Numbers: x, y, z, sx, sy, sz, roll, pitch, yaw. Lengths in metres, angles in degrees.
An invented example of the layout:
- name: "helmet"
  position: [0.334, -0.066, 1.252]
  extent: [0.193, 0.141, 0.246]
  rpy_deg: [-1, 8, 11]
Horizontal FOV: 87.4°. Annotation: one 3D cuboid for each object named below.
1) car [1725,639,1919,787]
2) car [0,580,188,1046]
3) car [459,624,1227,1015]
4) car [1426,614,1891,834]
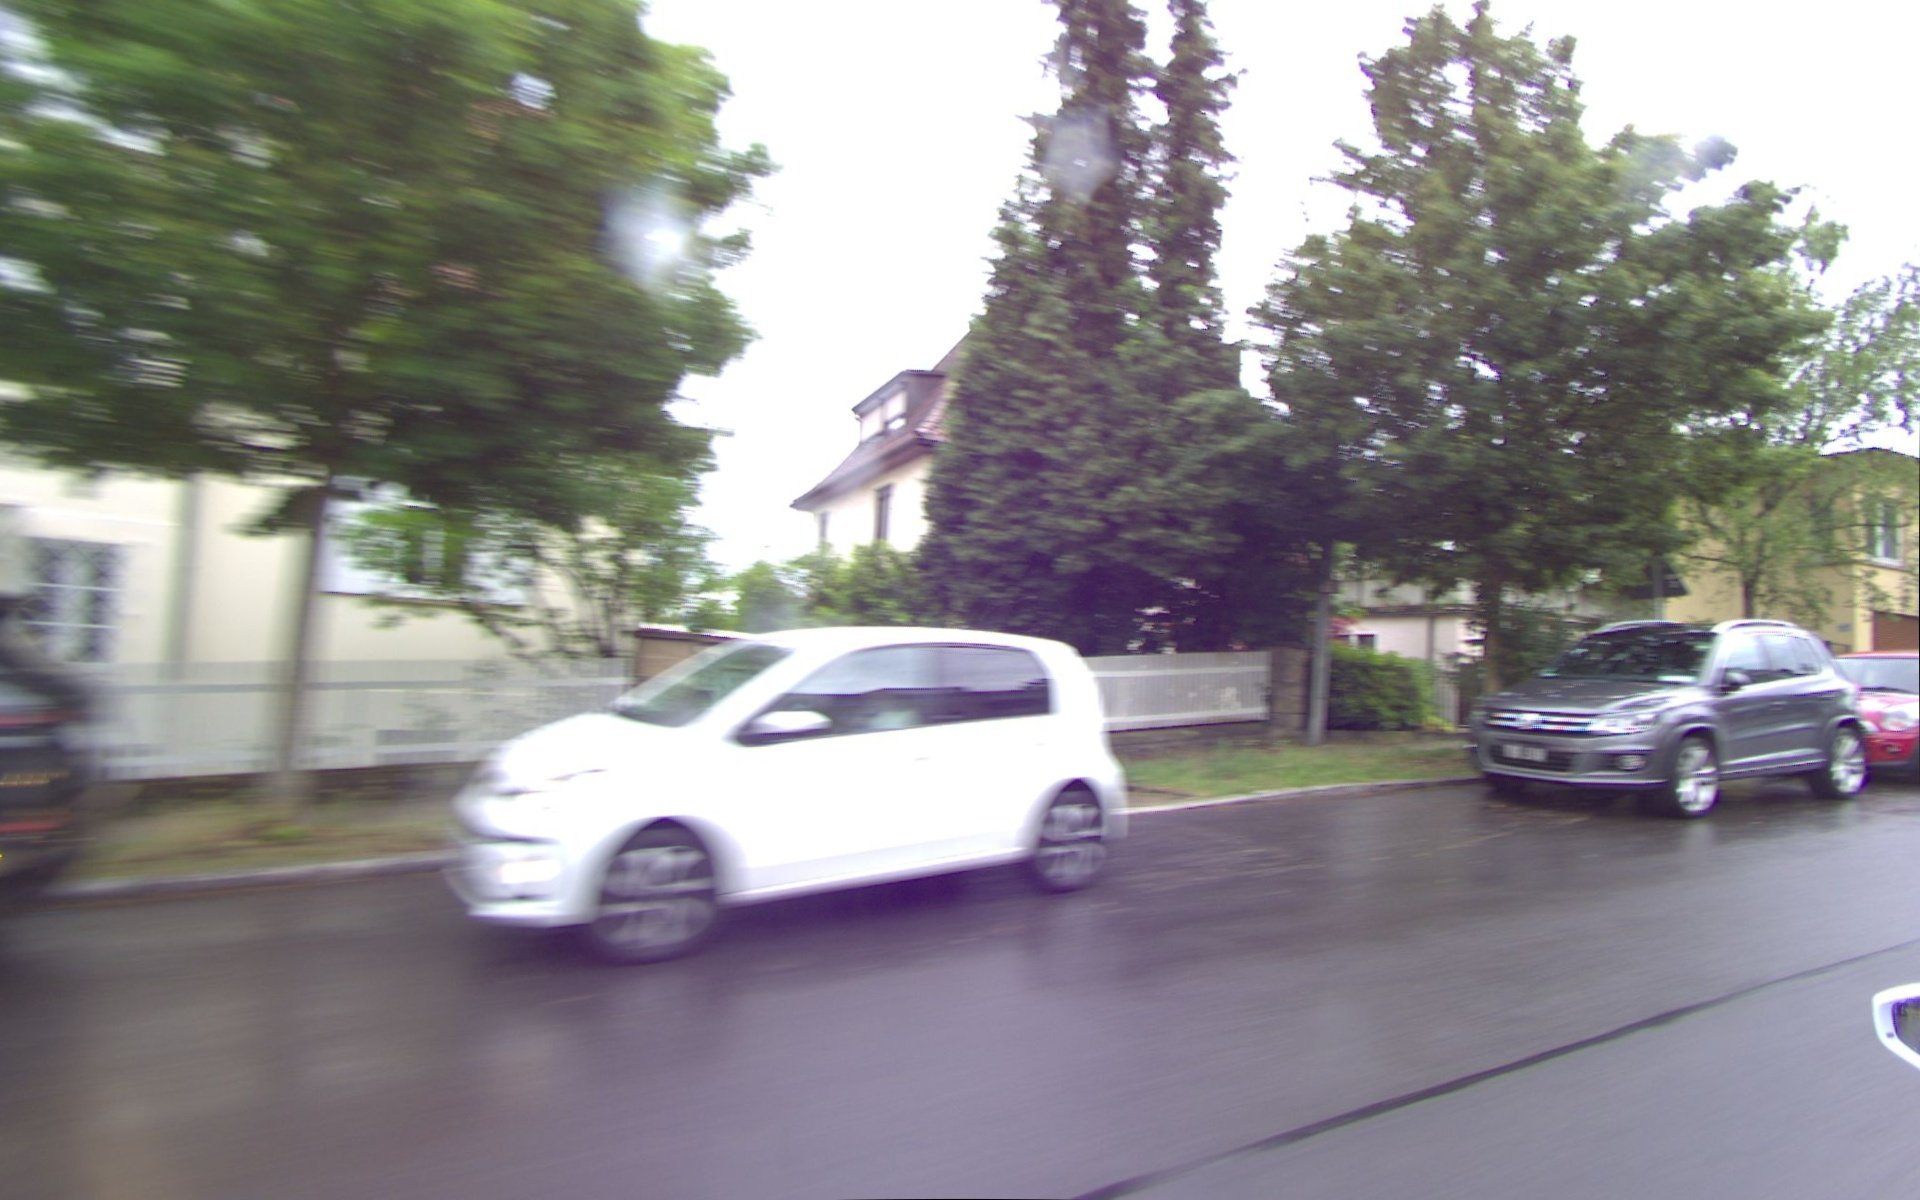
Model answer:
- name: "car"
  position: [11.016, 1.234, 11.777]
  extent: [3.813, 1.491, 1.677]
  rpy_deg: [2, -3, -25]
- name: "car"
  position: [-5.199, 0.654, 3.159]
  extent: [4.163, 1.566, 1.724]
  rpy_deg: [2, -1, -32]
- name: "car"
  position: [-0.542, 0.911, 5.670]
  extent: [3.955, 1.486, 1.724]
  rpy_deg: [2, -1, -32]
- name: "car"
  position: [6.707, 1.059, 9.589]
  extent: [4.369, 1.690, 1.795]
  rpy_deg: [2, -3, -27]
